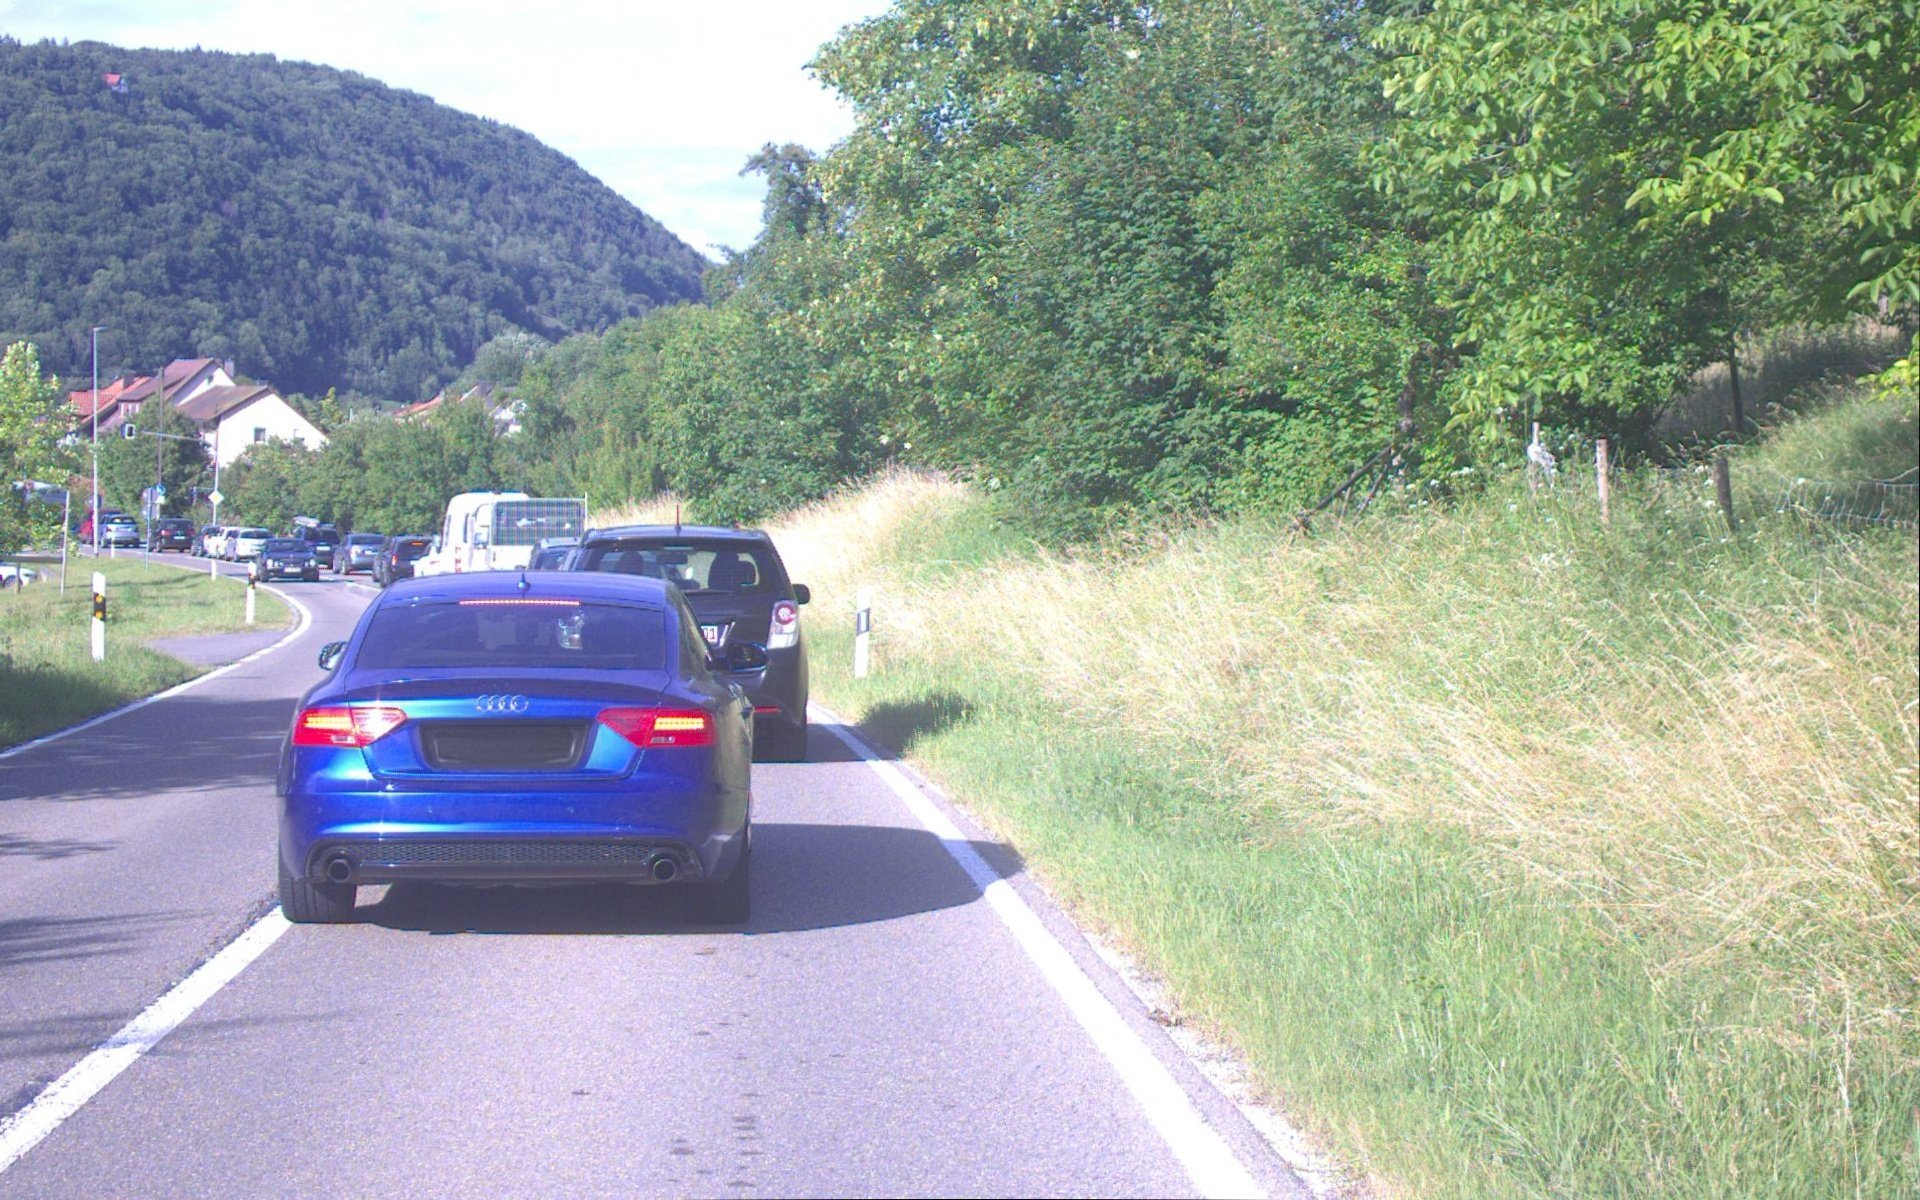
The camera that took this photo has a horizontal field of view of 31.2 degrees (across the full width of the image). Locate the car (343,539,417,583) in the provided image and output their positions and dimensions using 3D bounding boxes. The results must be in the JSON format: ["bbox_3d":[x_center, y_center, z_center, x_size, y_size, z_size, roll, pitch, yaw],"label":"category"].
[{"bbox_3d":[-20.255,-1.368,119.949,1.993,1.477,4.001,1,1,-18],"label":"car"}]

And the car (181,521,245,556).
[{"bbox_3d":[-32.976,-2.717,151.727,1.993,1.477,4.001,1,1,-24],"label":"car"}]

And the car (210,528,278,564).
[{"bbox_3d":[-30.260,-2.274,145.201,1.993,1.477,4.001,1,1,-24],"label":"car"}]

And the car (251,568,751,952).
[{"bbox_3d":[-1.799,0.558,14.423,1.793,1.355,4.001,0,1,-4],"label":"car"}]

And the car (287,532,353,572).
[{"bbox_3d":[-24.425,-1.819,131.106,1.993,1.477,4.001,1,1,-18],"label":"car"}]

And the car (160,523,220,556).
[{"bbox_3d":[-35.675,-2.794,159.258,1.993,1.477,4.001,1,1,-24],"label":"car"}]

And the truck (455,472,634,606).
[{"bbox_3d":[-9.126,-1.317,74.489,2.863,2.656,10.396,1,1,-12],"label":"truck"}]

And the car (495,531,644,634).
[{"bbox_3d":[-5.969,-0.271,52.249,1.993,1.477,4.001,1,1,-10],"label":"car"}]

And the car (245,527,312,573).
[{"bbox_3d":[-21.148,-1.544,106.719,1.993,1.371,4.001,1,1,-11],"label":"car"}]

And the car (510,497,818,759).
[{"bbox_3d":[-2.057,0.168,24.555,1.993,1.696,4.001,1,1,-3],"label":"car"}]

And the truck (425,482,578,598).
[{"bbox_3d":[-11.414,-1.483,84.820,2.863,2.656,10.648,1,1,-12],"label":"truck"}]

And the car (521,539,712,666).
[{"bbox_3d":[-4.035,0.010,39.899,1.993,1.382,4.001,1,1,-8],"label":"car"}]

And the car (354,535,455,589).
[{"bbox_3d":[-15.841,-1.089,97.845,1.993,1.477,4.001,1,1,-22],"label":"car"}]

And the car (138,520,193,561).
[{"bbox_3d":[-39.287,-2.934,169.996,1.993,2.007,4.001,1,1,-23],"label":"car"}]

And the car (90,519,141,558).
[{"bbox_3d":[-44.332,-3.226,180.403,1.993,2.007,4.001,1,1,-23],"label":"car"}]

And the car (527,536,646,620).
[{"bbox_3d":[-6.901,-0.411,63.171,1.993,1.477,4.001,1,1,-9],"label":"car"}]
